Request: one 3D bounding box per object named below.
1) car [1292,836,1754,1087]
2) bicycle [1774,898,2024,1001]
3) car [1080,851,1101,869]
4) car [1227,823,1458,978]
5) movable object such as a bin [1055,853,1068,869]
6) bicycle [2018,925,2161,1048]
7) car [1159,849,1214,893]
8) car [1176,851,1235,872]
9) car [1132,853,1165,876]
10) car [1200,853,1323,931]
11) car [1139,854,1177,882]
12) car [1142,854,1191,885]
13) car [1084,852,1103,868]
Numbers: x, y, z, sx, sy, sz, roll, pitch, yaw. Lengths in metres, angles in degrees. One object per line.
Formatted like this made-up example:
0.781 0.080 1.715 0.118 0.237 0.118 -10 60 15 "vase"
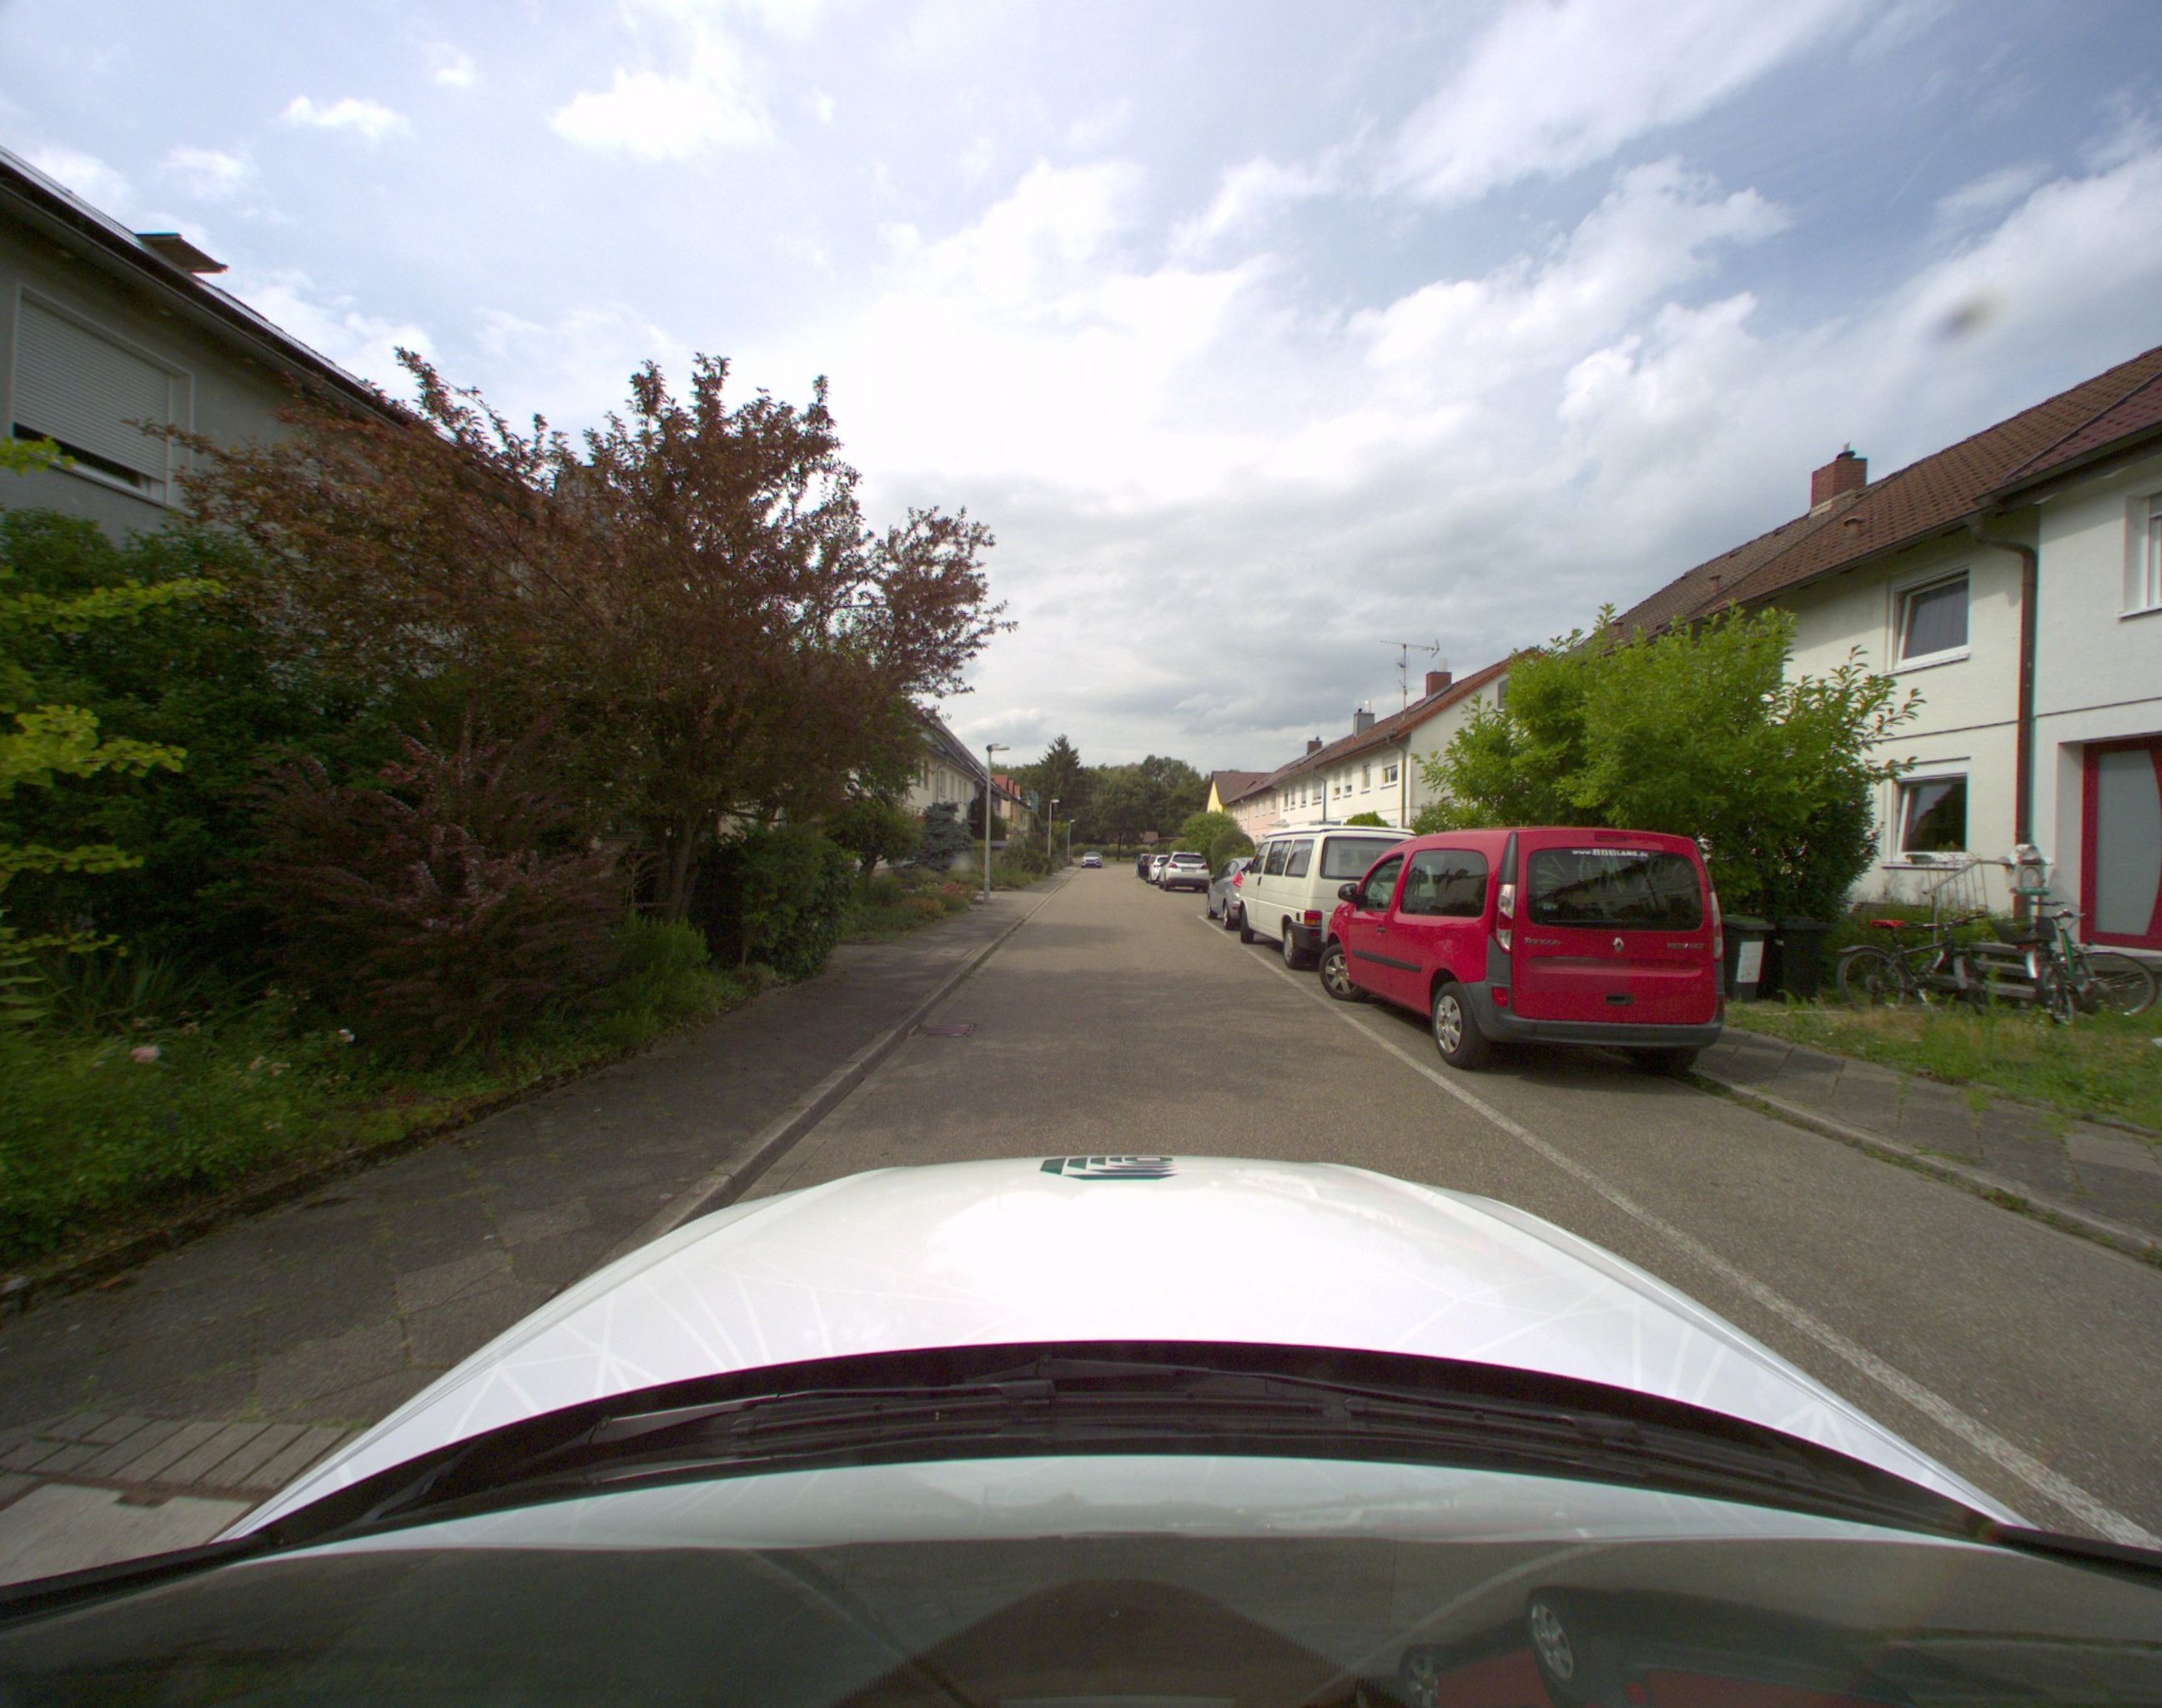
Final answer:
3.522 0.703 7.608 1.806 1.651 4.407 0 0 -2 "car"
7.773 0.893 7.780 1.872 0.908 0.560 0 0 -2 "bicycle"
0.940 0.538 77.126 1.926 1.556 4.636 0 0 2 "car"
3.716 0.577 12.607 2.014 1.947 4.746 0 0 -1 "car"
-1.555 0.562 64.874 0.946 1.312 1.001 0 0 0 "movable object such as a bin"
9.148 1.128 7.280 1.597 0.865 0.739 0 0 -30 "bicycle"
4.139 0.631 32.485 1.707 1.543 3.975 2 0 2 "car"
9.425 0.544 61.908 4.254 1.560 1.935 0 0 1 "car"
4.629 0.689 56.161 1.859 1.417 4.251 1 0 -1 "car"
3.775 0.729 17.712 1.893 1.459 4.131 0 0 2 "car"
4.290 0.736 45.830 1.767 1.436 4.827 3 0 2 "car"
4.118 0.699 39.815 1.833 1.413 4.634 0 0 -1 "car"
1.277 0.563 82.522 1.803 1.562 4.849 0 0 1 "car"
